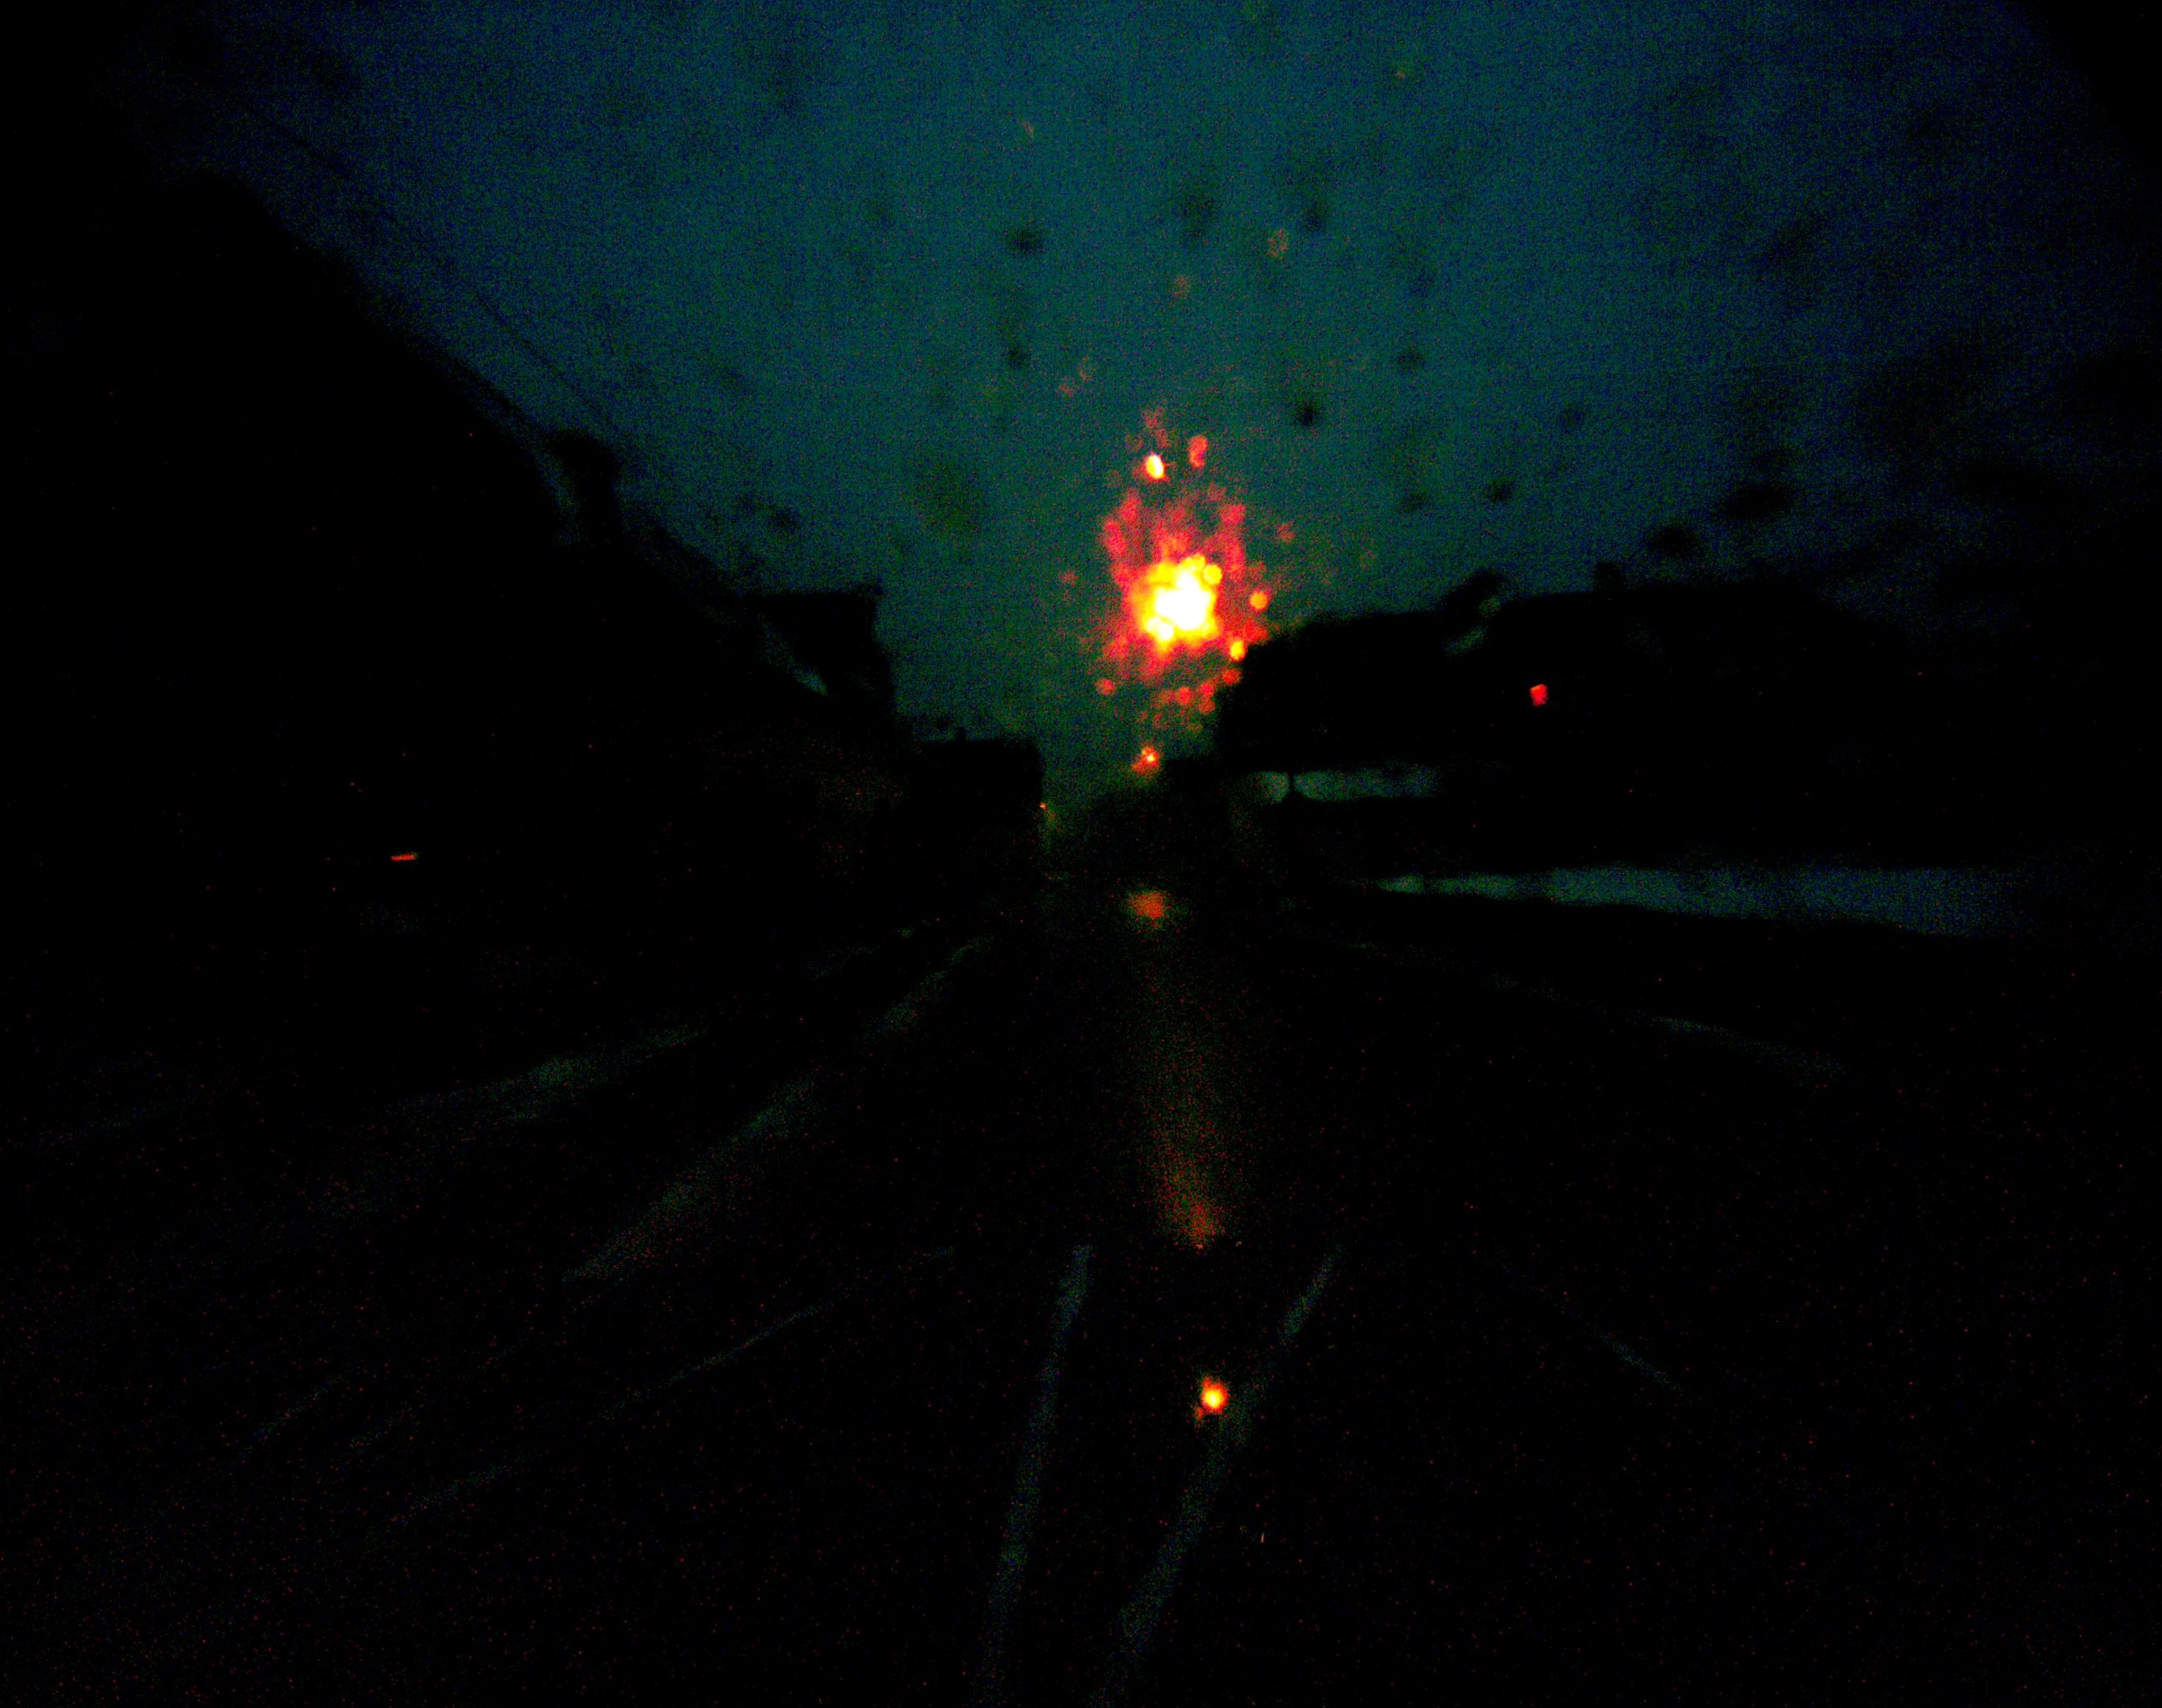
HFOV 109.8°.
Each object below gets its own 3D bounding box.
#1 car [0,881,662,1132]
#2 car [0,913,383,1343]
[{"bbox_3d":[-5.769,1.055,6.091,3.752,1.488,1.821,-2,0,-5],"label":"car"},{"bbox_3d":[-6.000,1.159,3.183,4.182,1.425,1.900,-4,0,-4],"label":"car"}]
